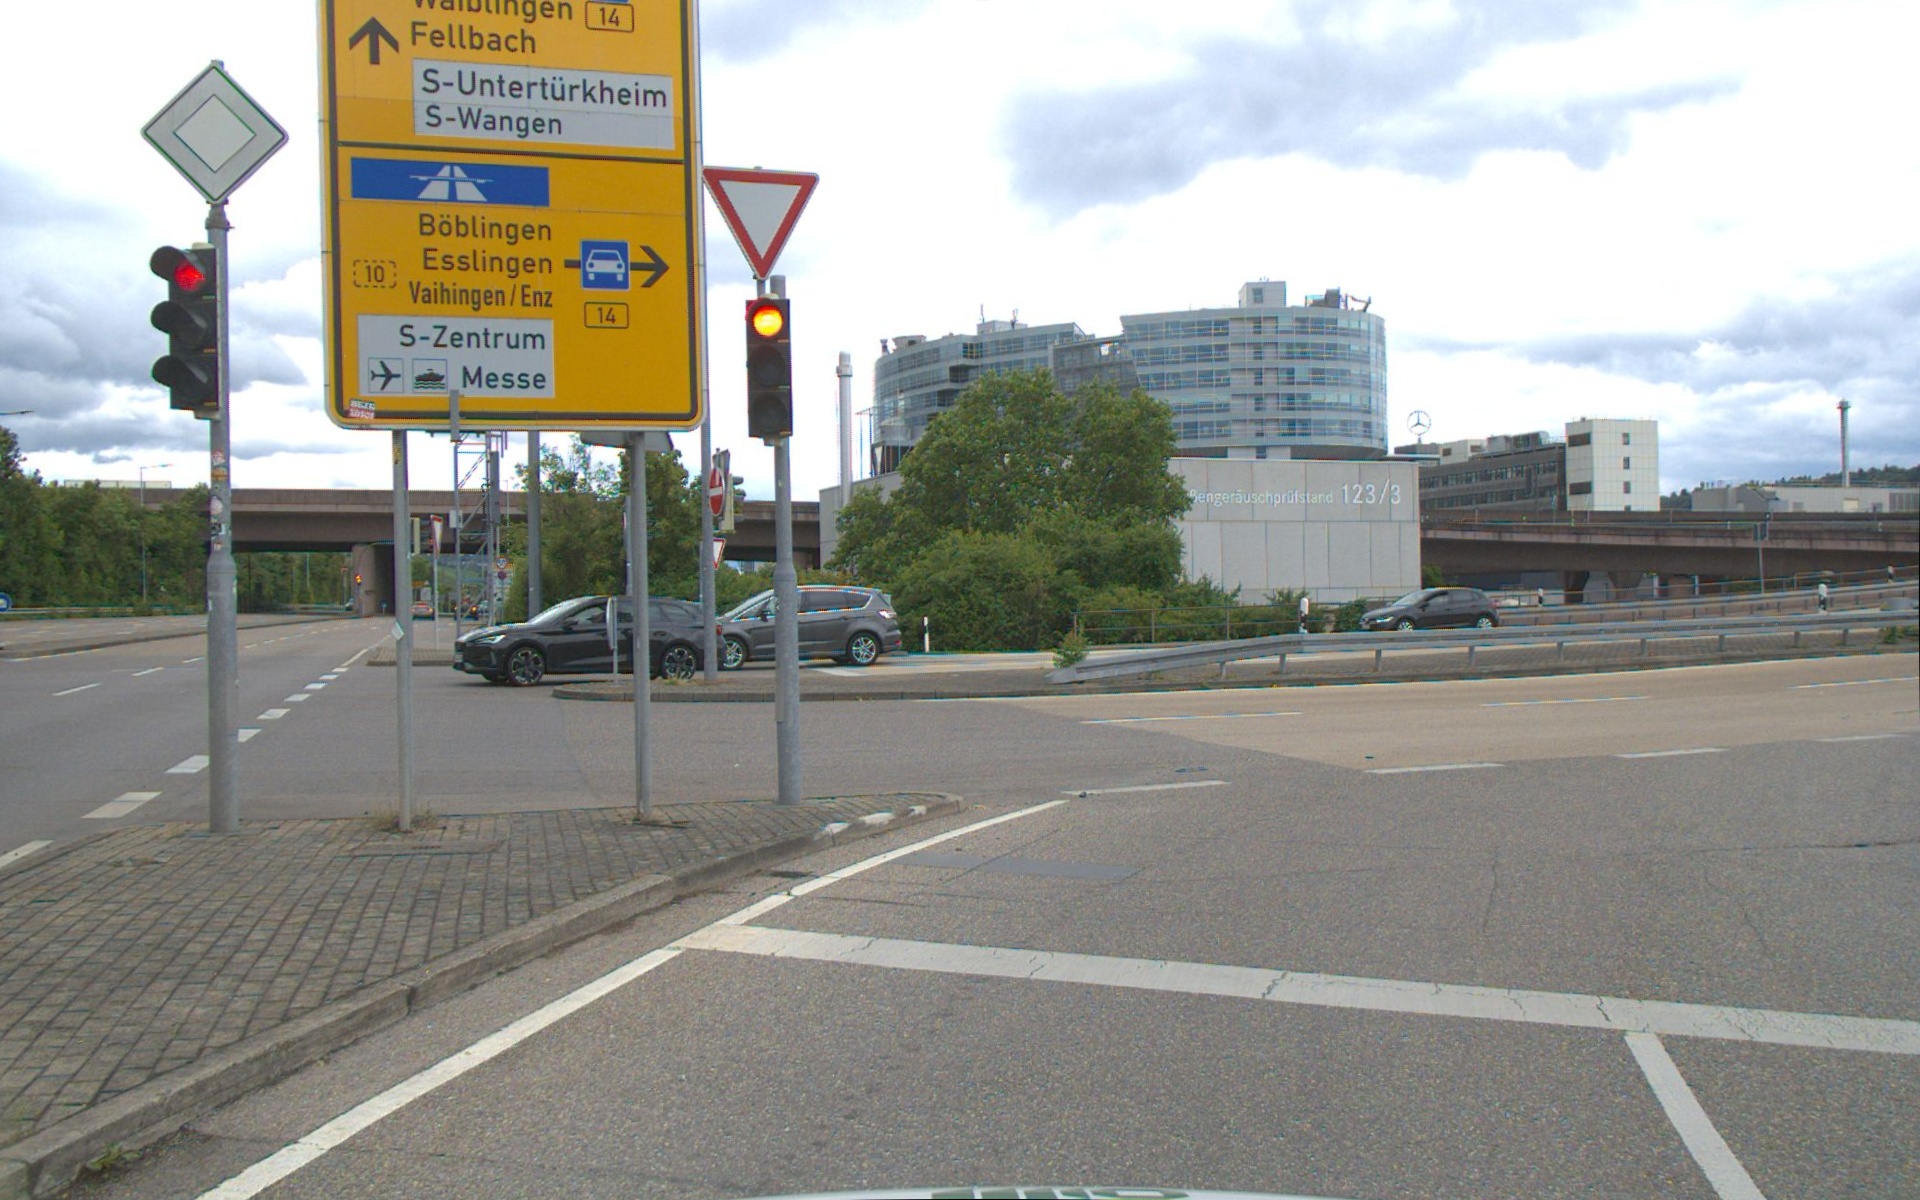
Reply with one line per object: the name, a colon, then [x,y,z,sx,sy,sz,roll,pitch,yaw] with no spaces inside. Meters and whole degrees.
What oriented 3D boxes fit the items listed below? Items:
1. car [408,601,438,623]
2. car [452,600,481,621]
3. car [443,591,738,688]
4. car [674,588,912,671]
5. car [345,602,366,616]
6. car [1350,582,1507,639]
car: [-39.861,0.915,122.909,1.961,1.467,4.091,1,-2,-16]
car: [-38.276,0.829,128.144,1.964,1.490,4.086,1,-2,-20]
car: [-6.264,0.617,28.160,4.560,1.482,1.935,0,1,-32]
car: [-3.476,0.575,34.409,4.611,1.599,1.944,0,1,-21]
car: [-71.448,1.041,195.570,1.831,1.407,3.856,3,1,-13]
car: [13.420,0.284,47.487,3.914,1.446,1.908,-2,1,-14]
